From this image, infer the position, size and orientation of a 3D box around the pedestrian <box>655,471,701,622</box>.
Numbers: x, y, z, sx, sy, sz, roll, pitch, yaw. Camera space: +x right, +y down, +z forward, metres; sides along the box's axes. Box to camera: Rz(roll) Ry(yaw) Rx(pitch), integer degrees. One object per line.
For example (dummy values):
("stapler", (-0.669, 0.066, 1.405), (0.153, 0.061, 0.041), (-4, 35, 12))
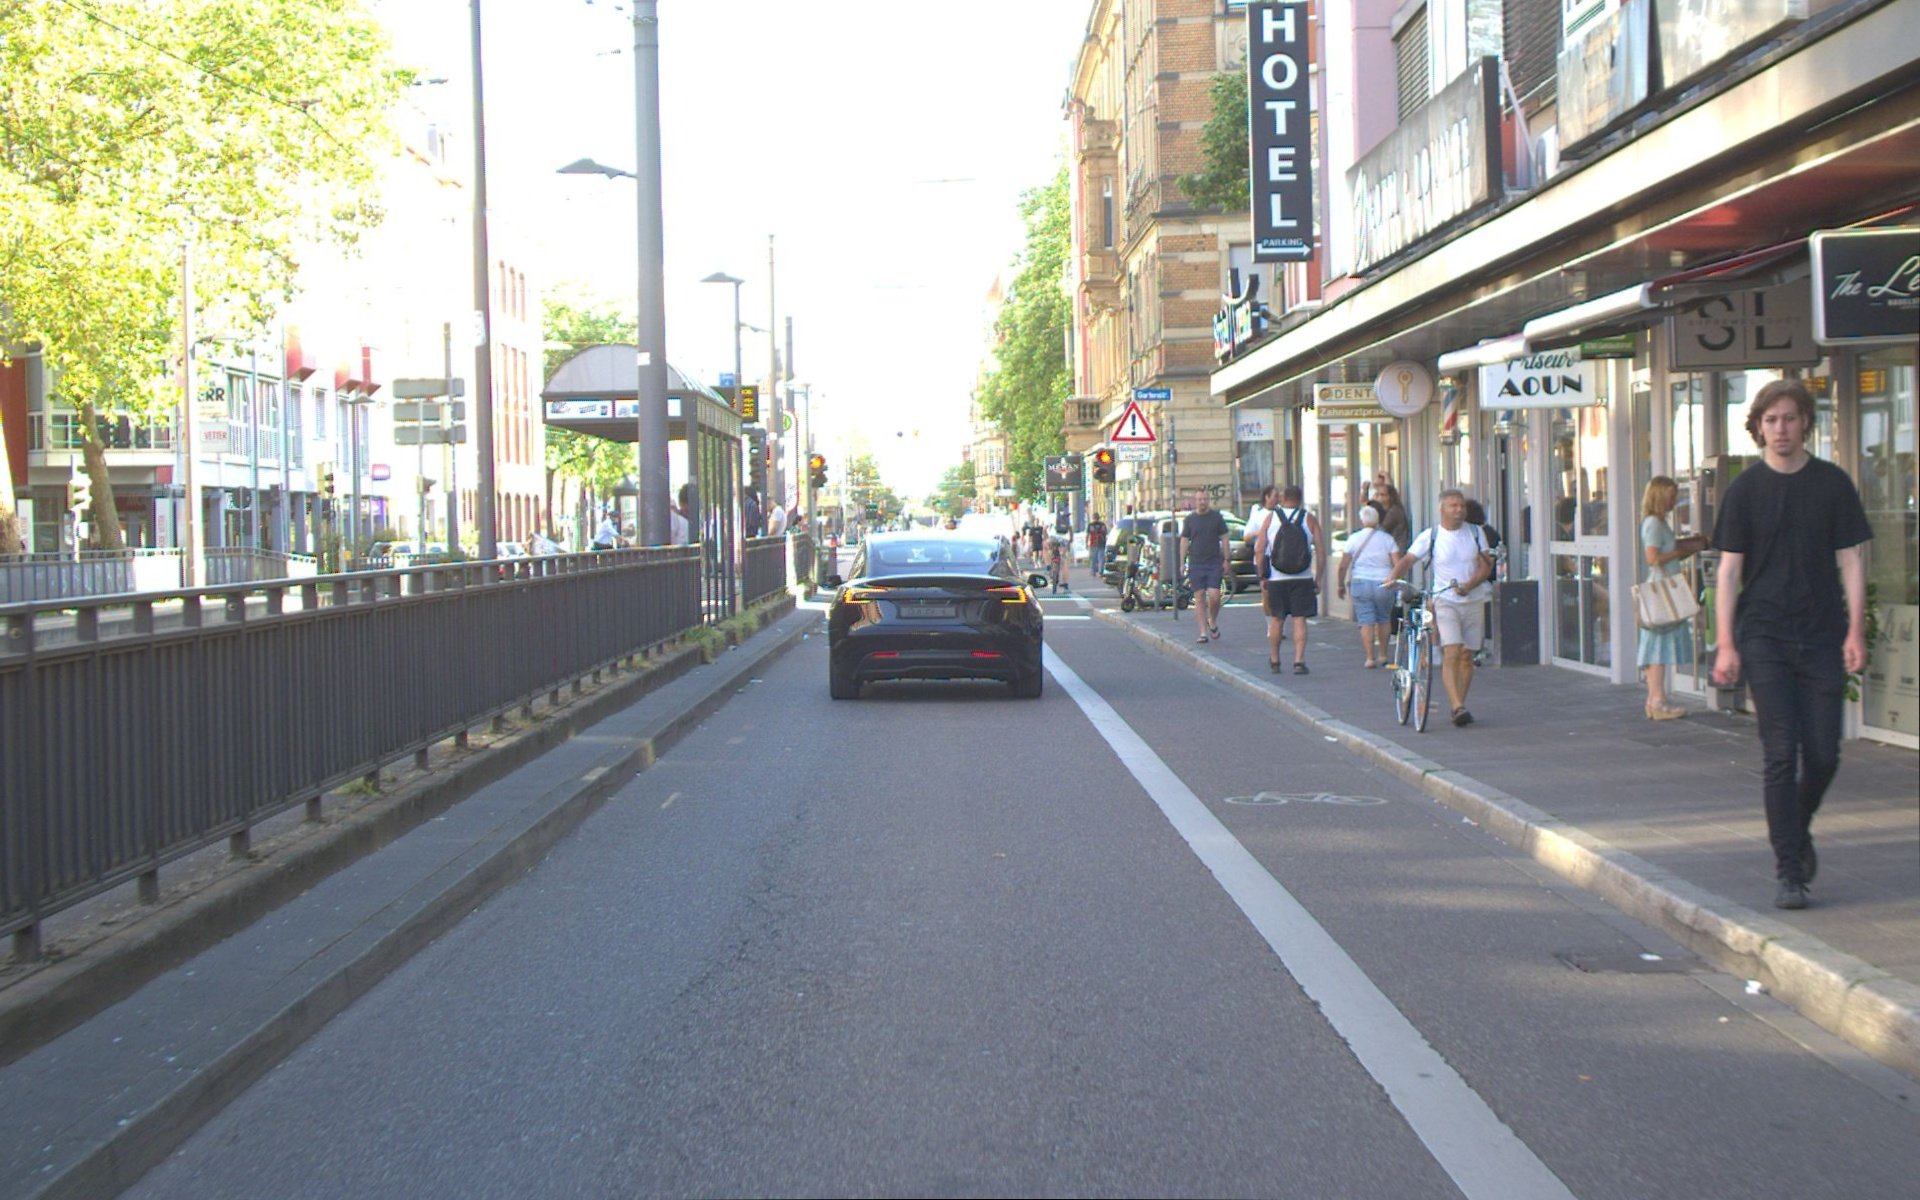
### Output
("pedestrian", (-2.949, -0.563, 35.936), (0.424, 1.568, 0.448), (-1, 1, 0))

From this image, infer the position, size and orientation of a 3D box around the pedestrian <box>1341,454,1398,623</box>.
("pedestrian", (4.543, -0.686, 38.147), (0.451, 1.843, 0.812), (-2, 1, -1))

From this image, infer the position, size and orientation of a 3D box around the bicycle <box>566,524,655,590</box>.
("bicycle", (-8.113, -1.002, 79.804), (1.948, 1.511, 0.635), (-1, 2, -29))

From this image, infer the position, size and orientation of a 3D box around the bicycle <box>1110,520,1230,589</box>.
("bicycle", (3.532, -0.771, 57.988), (1.945, 1.103, 0.564), (-2, 1, -2))

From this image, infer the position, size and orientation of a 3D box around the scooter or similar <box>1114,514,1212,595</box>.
("scooter or similar", (3.269, -0.735, 55.303), (1.478, 1.225, 0.591), (-3, 1, 0))

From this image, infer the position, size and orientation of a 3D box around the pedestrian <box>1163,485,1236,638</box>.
("pedestrian", (2.799, -0.456, 40.244), (0.667, 1.722, 0.810), (-4, 1, -1))

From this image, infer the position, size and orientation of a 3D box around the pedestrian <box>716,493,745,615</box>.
("pedestrian", (-3.168, -0.638, 47.424), (0.351, 1.663, 0.529), (-1, 1, -2))

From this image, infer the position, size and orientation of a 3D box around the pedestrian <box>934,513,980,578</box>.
("pedestrian", (-0.072, -1.320, 83.179), (0.843, 1.543, 0.698), (0, 2, 27))

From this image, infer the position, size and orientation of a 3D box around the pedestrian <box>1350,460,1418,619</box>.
("pedestrian", (4.776, -0.685, 38.750), (0.629, 1.763, 0.501), (-2, 1, 0))

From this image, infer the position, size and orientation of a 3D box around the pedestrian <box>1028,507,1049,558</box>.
("pedestrian", (2.802, -2.401, 122.351), (0.672, 1.808, 0.756), (-1, 1, -1))

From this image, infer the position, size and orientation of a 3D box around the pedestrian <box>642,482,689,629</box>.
("pedestrian", (-3.171, -0.483, 37.022), (0.424, 1.568, 0.592), (-1, 1, 0))

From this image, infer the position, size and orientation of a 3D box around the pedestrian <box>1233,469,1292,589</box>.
("pedestrian", (5.162, -1.209, 58.711), (0.717, 1.978, 0.942), (-1, -3, 25))

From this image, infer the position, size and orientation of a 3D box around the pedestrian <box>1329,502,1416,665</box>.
("pedestrian", (3.864, -0.162, 32.240), (0.636, 1.478, 0.654), (-4, 1, -1))

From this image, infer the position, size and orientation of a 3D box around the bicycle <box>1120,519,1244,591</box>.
("bicycle", (3.610, -0.740, 55.959), (1.945, 1.103, 0.564), (-2, 1, -2))

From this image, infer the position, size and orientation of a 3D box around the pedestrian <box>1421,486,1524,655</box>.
("pedestrian", (4.629, -0.272, 31.067), (0.738, 1.467, 0.707), (-4, 1, 1))

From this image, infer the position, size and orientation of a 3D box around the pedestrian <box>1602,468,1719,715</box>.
("pedestrian", (4.601, -0.061, 22.594), (0.600, 1.584, 0.554), (-2, 1, -1))

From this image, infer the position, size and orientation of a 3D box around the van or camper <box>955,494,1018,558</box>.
("van or camper", (0.836, -2.390, 111.668), (1.931, 2.030, 5.476), (0, 1, -1))

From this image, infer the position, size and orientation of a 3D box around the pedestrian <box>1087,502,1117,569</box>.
("pedestrian", (3.693, -1.673, 89.496), (0.470, 1.722, 0.586), (-1, 2, 36))

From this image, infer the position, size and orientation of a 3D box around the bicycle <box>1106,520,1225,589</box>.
("bicycle", (3.495, -0.782, 58.635), (1.945, 1.103, 0.564), (-2, 1, -2))

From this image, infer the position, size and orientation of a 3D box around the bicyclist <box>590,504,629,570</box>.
("bicyclist", (-8.134, -1.467, 79.784), (0.679, 1.511, 0.635), (-1, 2, -29))

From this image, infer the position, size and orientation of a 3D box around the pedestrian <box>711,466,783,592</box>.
("pedestrian", (-3.124, -1.038, 50.386), (0.770, 1.825, 0.804), (0, 1, -30))

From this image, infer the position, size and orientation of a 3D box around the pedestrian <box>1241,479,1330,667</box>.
("pedestrian", (3.027, -0.255, 32.022), (0.744, 1.721, 0.815), (0, 1, 0))

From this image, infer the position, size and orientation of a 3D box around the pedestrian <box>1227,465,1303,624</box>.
("pedestrian", (3.595, -0.661, 40.533), (0.706, 1.814, 0.763), (-4, 1, 0))

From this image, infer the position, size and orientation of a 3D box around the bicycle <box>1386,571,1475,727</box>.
("bicycle", (3.224, 0.319, 23.636), (0.302, 0.986, 1.760), (-2, 2, -1))

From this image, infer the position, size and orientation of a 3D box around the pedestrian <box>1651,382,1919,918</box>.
("pedestrian", (3.010, 0.165, 12.614), (0.675, 1.854, 0.992), (-3, 1, 1))

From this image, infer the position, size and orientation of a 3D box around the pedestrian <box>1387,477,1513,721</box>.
("pedestrian", (3.372, -0.015, 23.713), (0.663, 1.625, 0.705), (-3, 1, -1))

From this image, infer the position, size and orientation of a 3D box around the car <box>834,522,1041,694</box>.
("car", (-0.231, 0.023, 30.388), (1.719, 1.400, 3.710), (0, 2, -1))

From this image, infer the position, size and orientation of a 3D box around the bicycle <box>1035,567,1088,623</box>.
("bicycle", (2.114, -0.114, 71.563), (0.647, 1.135, 2.096), (-1, 1, -11))

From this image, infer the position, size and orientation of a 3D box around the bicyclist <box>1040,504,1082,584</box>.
("bicyclist", (2.102, -1.162, 71.508), (0.655, 1.650, 0.927), (-1, 1, -11))
